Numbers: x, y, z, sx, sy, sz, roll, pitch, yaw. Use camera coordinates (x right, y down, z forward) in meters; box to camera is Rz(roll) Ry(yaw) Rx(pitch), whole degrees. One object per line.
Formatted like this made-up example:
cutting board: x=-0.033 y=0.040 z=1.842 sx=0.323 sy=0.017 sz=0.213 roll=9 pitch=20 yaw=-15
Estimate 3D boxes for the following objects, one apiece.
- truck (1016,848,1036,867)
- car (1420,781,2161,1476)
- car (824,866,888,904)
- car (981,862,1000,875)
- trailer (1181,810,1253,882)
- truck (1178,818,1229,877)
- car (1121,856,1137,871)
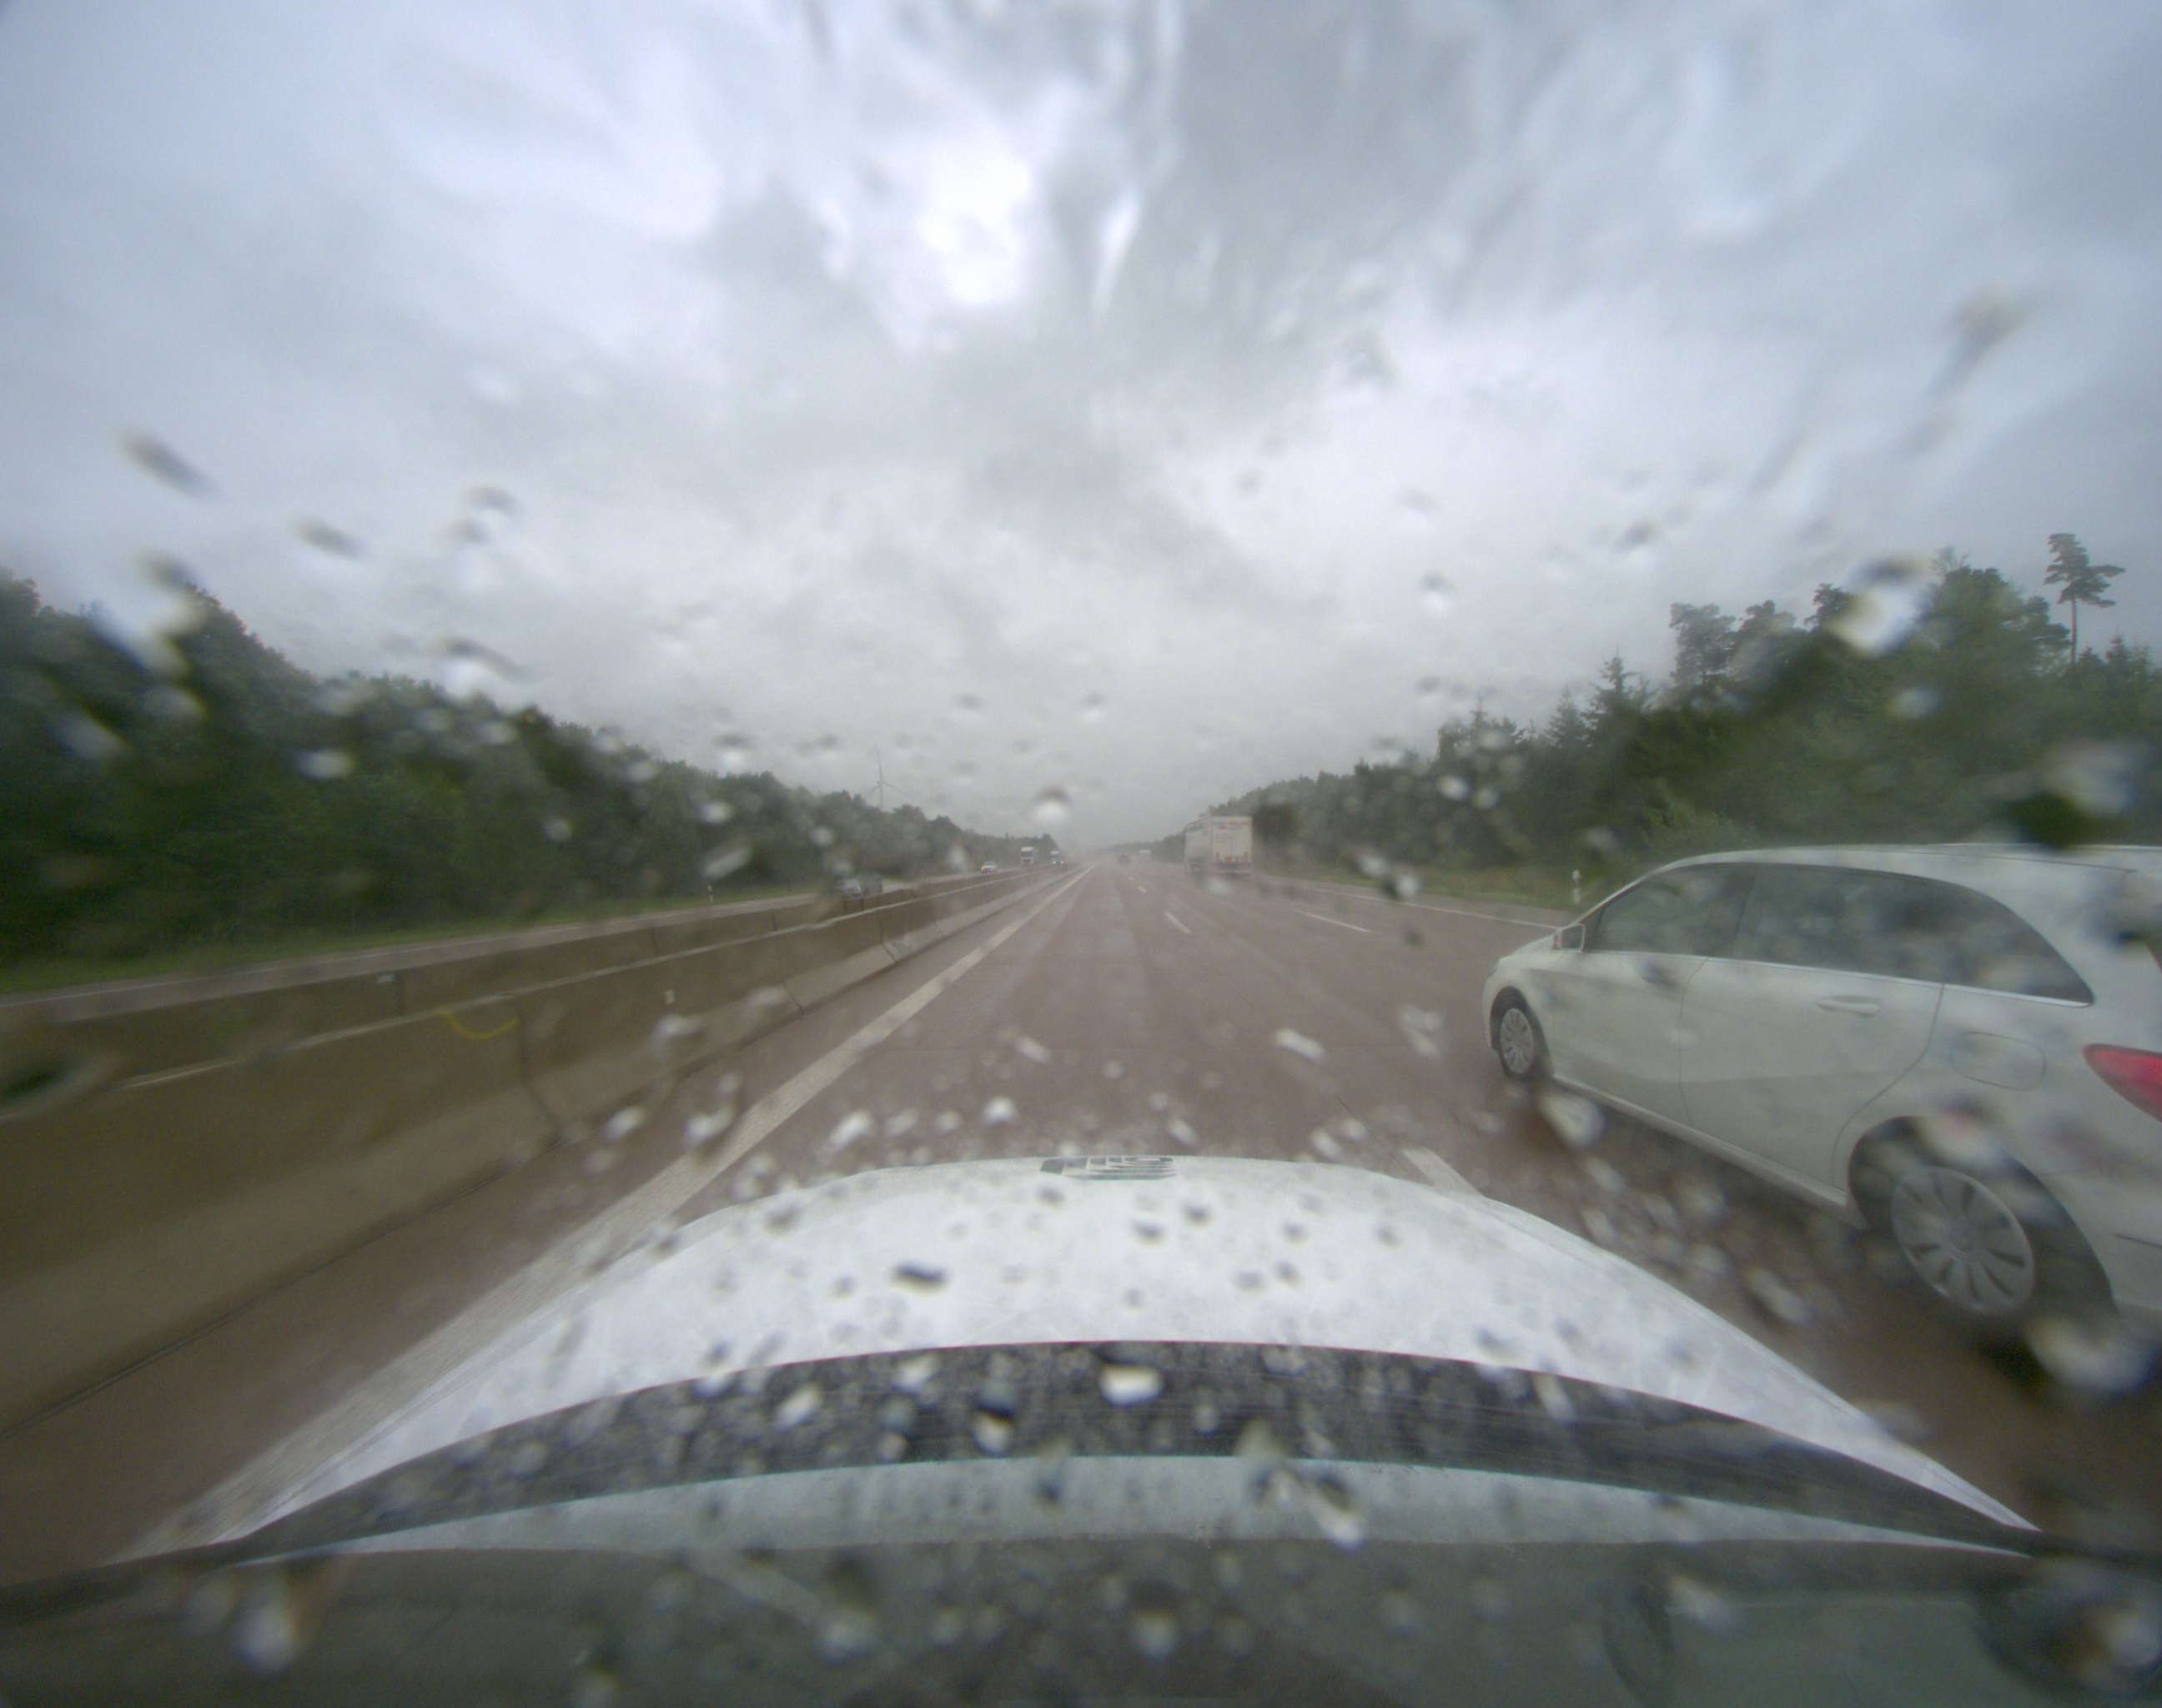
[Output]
truck: x=-11.303 y=0.689 z=168.675 sx=3.460 sy=3.889 sz=7.466 roll=0 pitch=-1 yaw=2
car: x=3.620 y=0.689 z=4.233 sx=1.802 sy=1.728 sz=4.744 roll=0 pitch=0 yaw=1
car: x=-11.033 y=1.474 z=40.245 sx=1.803 sy=1.631 sz=4.504 roll=-3 pitch=0 yaw=0
car: x=-11.754 y=1.857 z=105.876 sx=1.747 sy=1.480 sz=4.585 roll=-4 pitch=0 yaw=2
trailer: x=9.003 y=-0.514 z=55.703 sx=2.842 sy=4.231 sz=13.135 roll=-3 pitch=0 yaw=1
truck: x=9.121 y=-0.504 z=61.288 sx=2.870 sy=4.106 sz=6.351 roll=-3 pitch=0 yaw=1
car: x=6.648 y=1.323 z=113.346 sx=2.165 sy=1.981 sz=4.132 roll=-2 pitch=0 yaw=2
